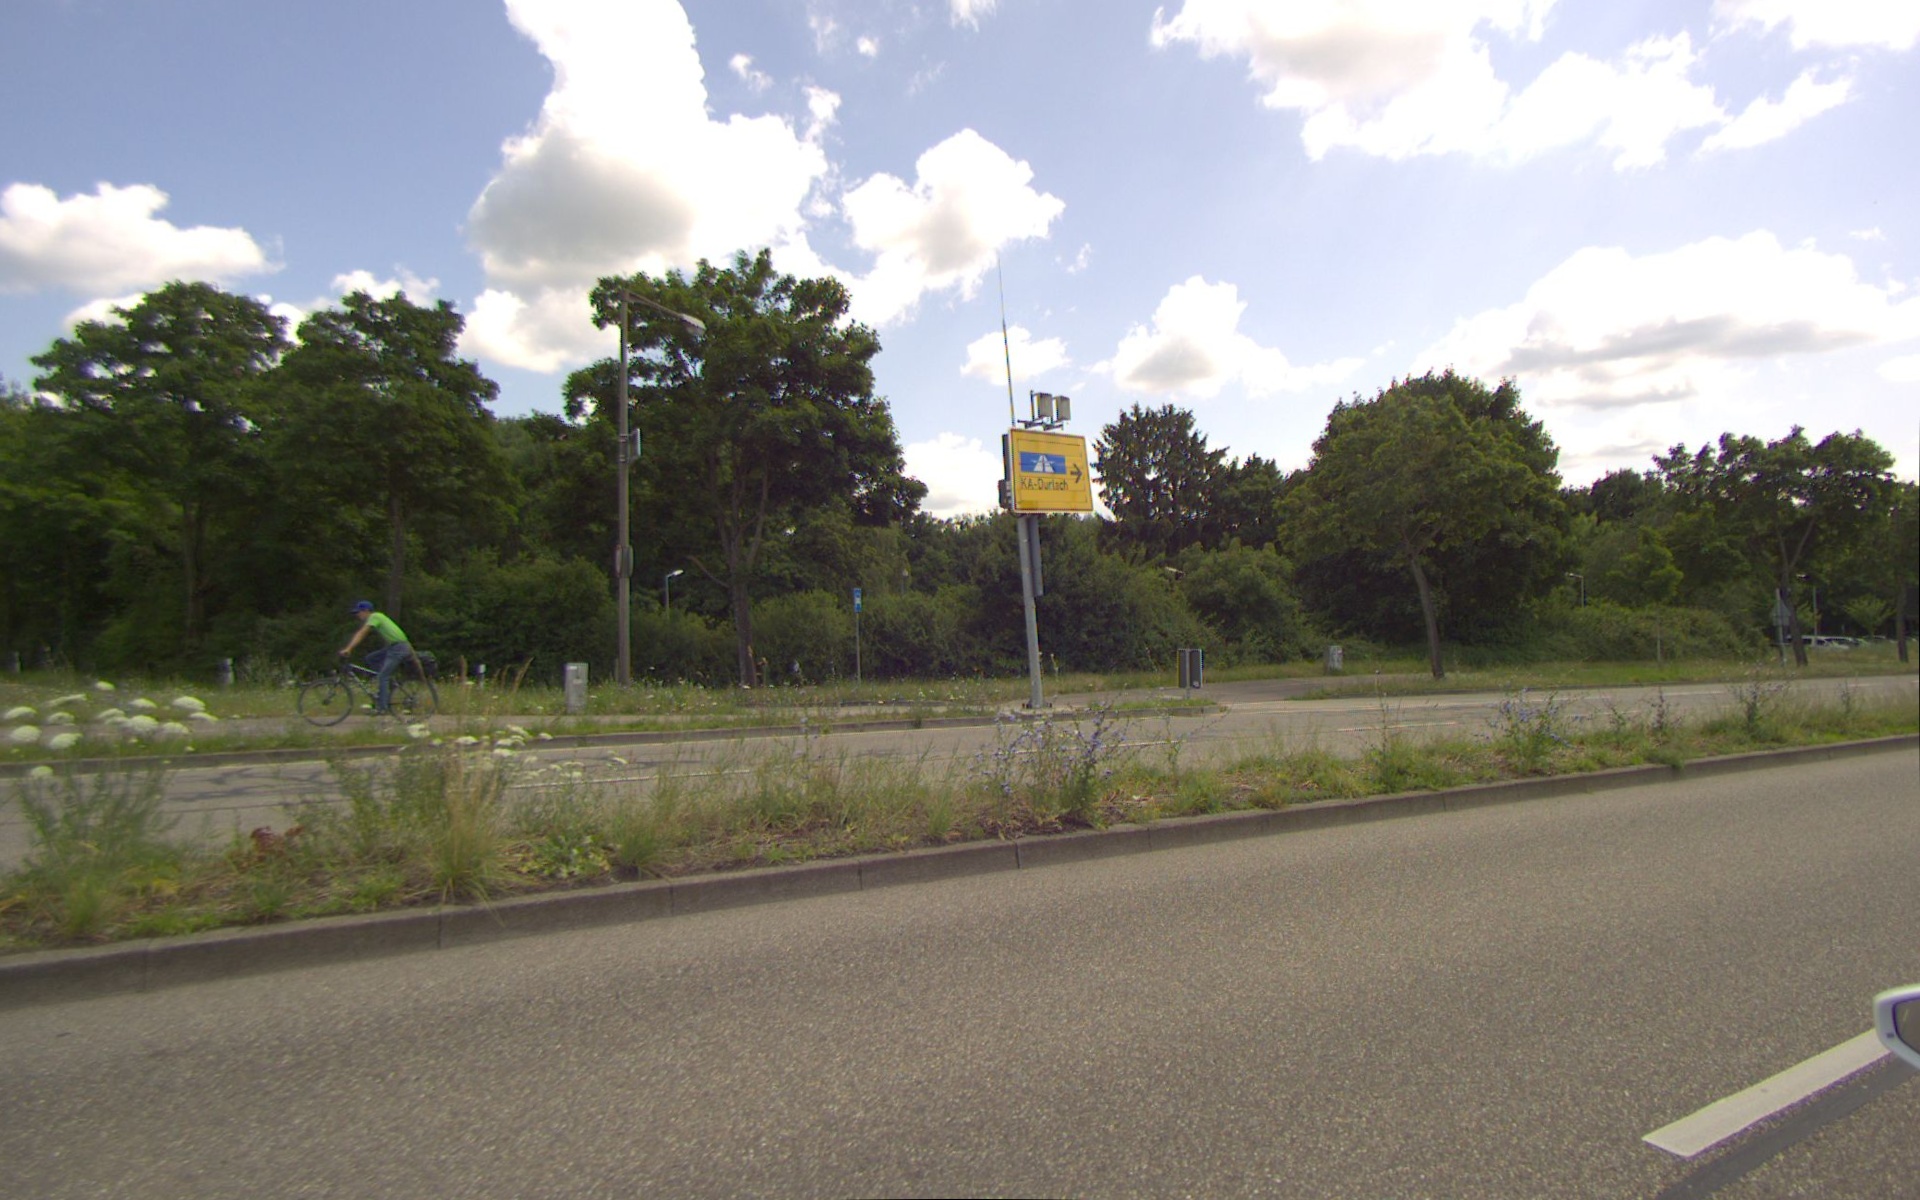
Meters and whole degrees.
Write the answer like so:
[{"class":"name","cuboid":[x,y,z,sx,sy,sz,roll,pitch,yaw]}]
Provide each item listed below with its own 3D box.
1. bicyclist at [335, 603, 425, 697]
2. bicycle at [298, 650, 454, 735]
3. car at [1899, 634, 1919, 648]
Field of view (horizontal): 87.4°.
[{"class":"bicyclist","cuboid":[-8.252,0.688,14.303,1.095,1.289,0.517,0,0,-33]},{"class":"bicycle","cuboid":[-8.279,1.283,14.289,1.887,1.082,0.429,0,0,-34]},{"class":"car","cuboid":[112.436,4.813,117.293,1.766,1.447,3.762,0,0,-33]}]
